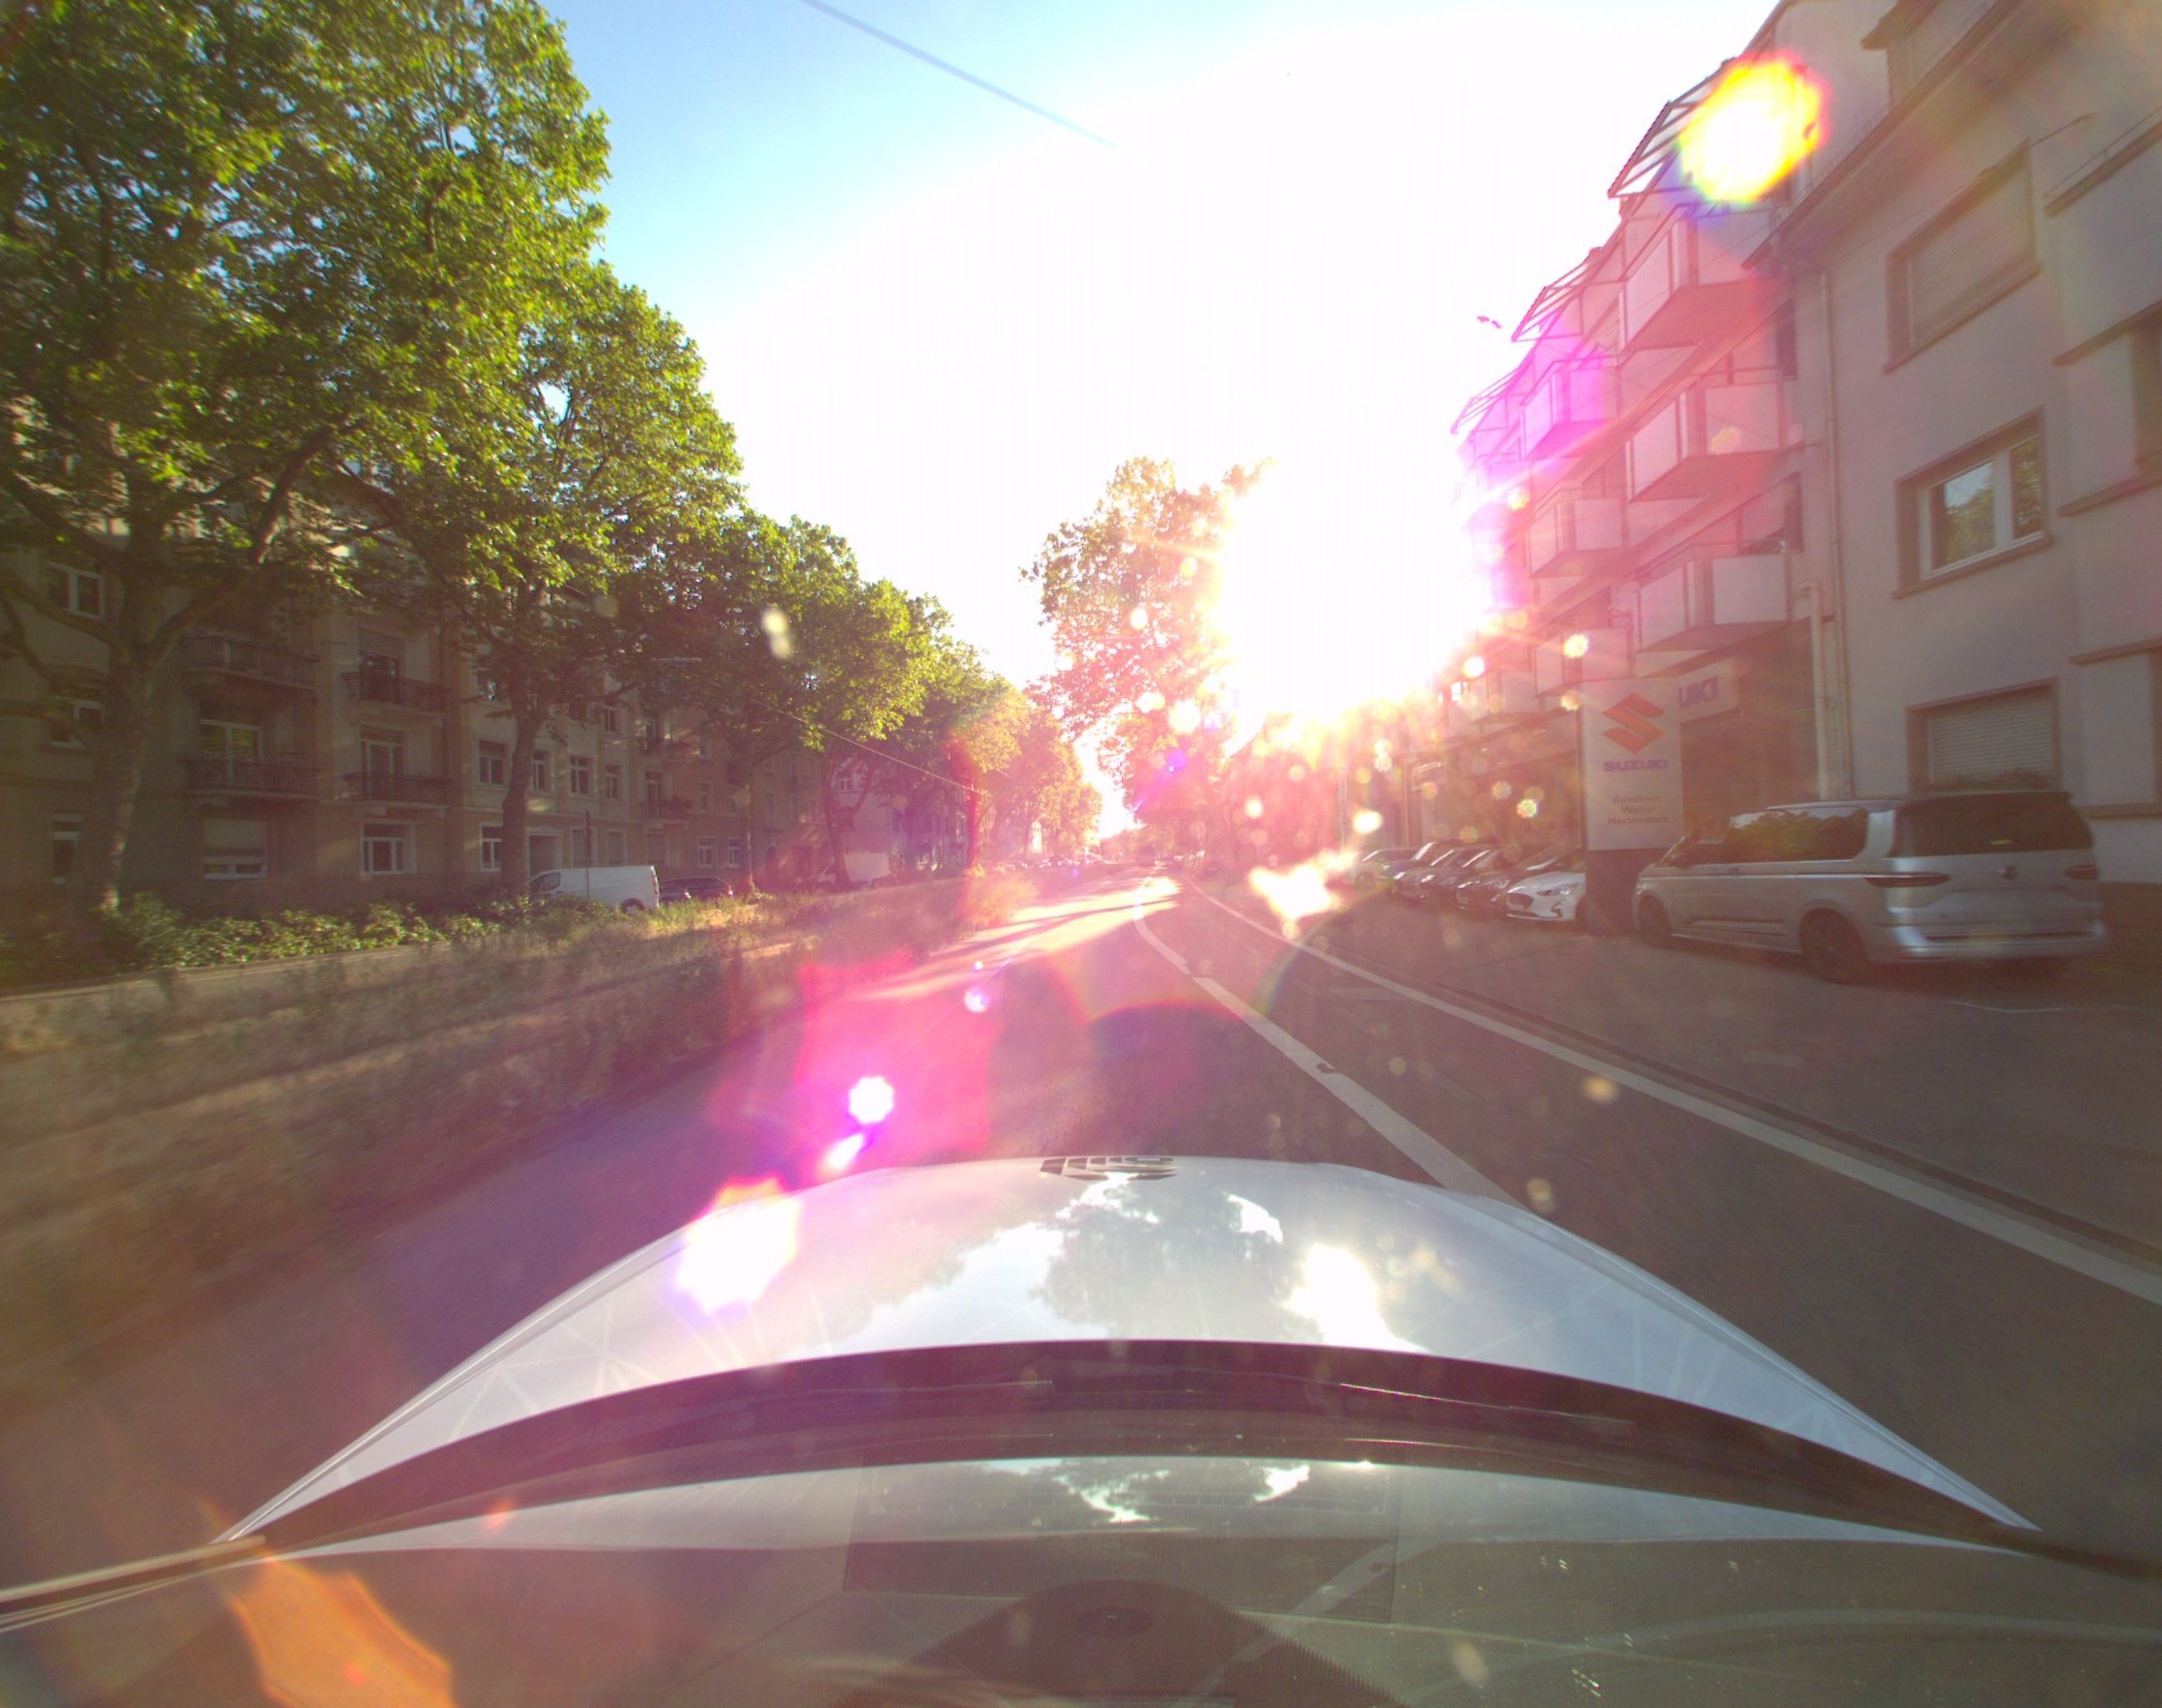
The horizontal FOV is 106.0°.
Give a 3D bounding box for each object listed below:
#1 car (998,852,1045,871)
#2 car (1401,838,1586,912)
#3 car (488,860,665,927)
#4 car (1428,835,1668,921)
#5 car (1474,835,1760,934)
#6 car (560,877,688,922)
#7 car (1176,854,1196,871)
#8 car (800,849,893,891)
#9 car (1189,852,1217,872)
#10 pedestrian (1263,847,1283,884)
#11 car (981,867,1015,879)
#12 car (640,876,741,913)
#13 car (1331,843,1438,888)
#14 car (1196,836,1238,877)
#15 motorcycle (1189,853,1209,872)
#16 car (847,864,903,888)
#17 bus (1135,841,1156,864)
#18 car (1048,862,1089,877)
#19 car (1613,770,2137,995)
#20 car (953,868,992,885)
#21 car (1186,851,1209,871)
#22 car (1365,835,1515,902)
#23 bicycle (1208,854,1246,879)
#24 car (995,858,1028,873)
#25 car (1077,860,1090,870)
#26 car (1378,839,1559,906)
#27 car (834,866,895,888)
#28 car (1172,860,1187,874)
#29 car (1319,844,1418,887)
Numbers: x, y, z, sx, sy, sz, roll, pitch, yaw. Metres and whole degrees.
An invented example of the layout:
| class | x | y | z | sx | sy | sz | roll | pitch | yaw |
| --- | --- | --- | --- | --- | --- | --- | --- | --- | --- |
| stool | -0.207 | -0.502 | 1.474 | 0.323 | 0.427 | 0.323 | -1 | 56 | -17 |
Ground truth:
| class | x | y | z | sx | sy | sz | roll | pitch | yaw |
| --- | --- | --- | --- | --- | --- | --- | --- | --- | --- |
| car | -9.299 | 1.171 | 126.785 | 6.951 | 2.678 | 2.174 | -2 | -1 | -16 |
| car | 9.549 | 0.478 | 19.050 | 3.406 | 1.525 | 1.741 | -2 | 0 | 1 |
| car | -18.144 | 1.342 | 29.438 | 5.271 | 2.066 | 1.702 | -2 | 0 | -37 |
| car | 9.424 | 0.461 | 16.688 | 3.852 | 1.514 | 1.811 | -2 | 0 | 3 |
| car | 9.311 | 0.485 | 14.386 | 3.799 | 1.501 | 1.913 | -2 | 1 | 0 |
| car | -18.109 | 1.762 | 32.341 | 4.196 | 1.491 | 1.702 | -2 | 0 | -37 |
| car | 11.552 | 0.963 | 89.532 | 1.732 | 1.770 | 4.409 | -2 | -1 | 13 |
| car | -15.661 | 1.026 | 54.567 | 5.534 | 2.529 | 2.102 | -2 | 0 | -37 |
| car | 10.046 | 0.676 | 67.481 | 1.984 | 1.560 | 3.984 | -2 | -1 | 4 |
| pedestrian | 8.703 | 0.508 | 36.930 | 0.660 | 1.629 | 0.924 | -2 | -1 | 5 |
| car | -10.401 | 2.366 | 102.097 | 4.008 | 1.356 | 1.572 | -2 | -1 | -27 |
| car | -17.270 | 1.746 | 36.049 | 3.746 | 1.422 | 1.702 | -2 | 0 | -37 |
| car | 11.324 | 0.449 | 30.551 | 3.400 | 1.519 | 1.761 | -2 | -1 | 7 |
| car | 8.125 | 0.193 | 49.192 | 1.984 | 2.257 | 5.241 | -2 | -1 | 4 |
| motorcycle | 9.146 | 0.622 | 63.055 | 0.823 | 1.398 | 2.374 | -4 | 0 | -7 |
| car | -15.253 | 1.599 | 60.284 | 3.718 | 1.466 | 1.721 | -3 | 0 | -27 |
| bus | 9.586 | -0.203 | 121.467 | 2.822 | 3.235 | 8.188 | -2 | -1 | 3 |
| car | -1.590 | 2.002 | 103.740 | 4.770 | 1.694 | 1.865 | -2 | -1 | -16 |
| car | 8.639 | 0.299 | 9.710 | 1.882 | 1.948 | 4.911 | -2 | -1 | 8 |
| car | -12.402 | 2.567 | 93.171 | 4.017 | 1.882 | 1.978 | -1 | -1 | -36 |
| car | 10.442 | 0.644 | 72.931 | 1.736 | 1.690 | 3.856 | -2 | -1 | 4 |
| car | 10.155 | 0.393 | 23.234 | 3.561 | 1.720 | 1.685 | -2 | 1 | 7 |
| bicycle | 7.258 | 0.626 | 40.517 | 1.836 | 1.143 | 0.349 | -2 | -1 | 4 |
| car | -9.525 | 1.550 | 111.077 | 4.009 | 1.699 | 1.840 | -4 | 0 | -27 |
| car | 0.505 | 1.917 | 143.029 | 1.781 | 1.574 | 4.007 | -2 | 0 | 6 |
| car | 9.987 | 0.458 | 21.212 | 3.802 | 1.540 | 1.861 | -2 | 0 | 3 |
| car | -15.258 | 1.610 | 57.442 | 3.727 | 1.399 | 1.717 | -2 | 0 | -37 |
| car | 13.122 | 1.712 | 108.726 | 1.736 | 1.770 | 4.994 | -2 | -1 | 4 |
| car | 11.424 | 0.462 | 32.475 | 3.404 | 1.546 | 1.443 | -2 | -1 | 2 |
